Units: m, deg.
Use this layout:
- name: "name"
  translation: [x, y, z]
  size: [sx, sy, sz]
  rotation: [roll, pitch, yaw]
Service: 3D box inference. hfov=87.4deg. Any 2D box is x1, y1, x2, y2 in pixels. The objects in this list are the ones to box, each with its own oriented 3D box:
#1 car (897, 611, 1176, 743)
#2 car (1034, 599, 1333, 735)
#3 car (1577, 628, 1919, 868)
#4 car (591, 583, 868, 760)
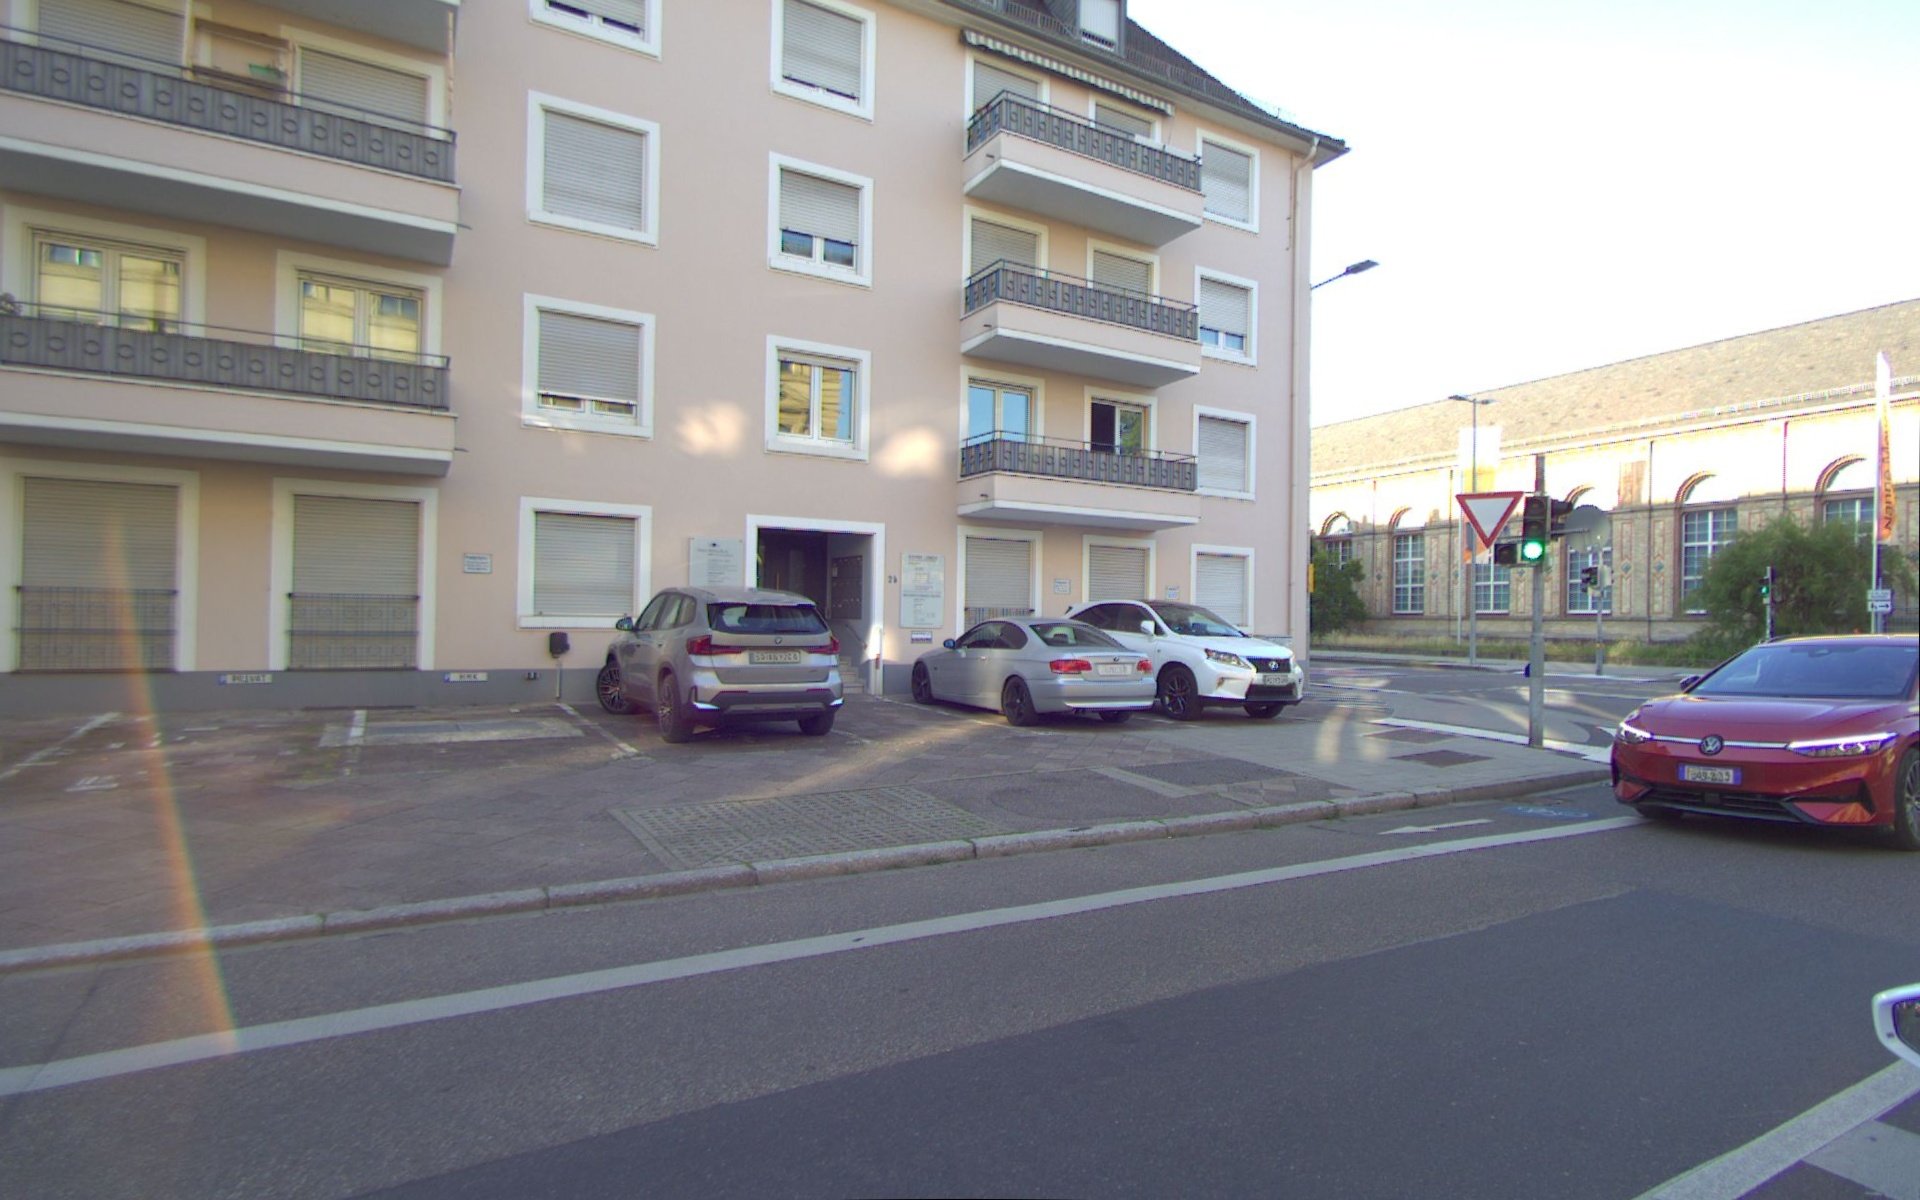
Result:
- name: "car"
  translation: [0.872, 0.934, 13.955]
  size: [1.716, 1.399, 4.244]
  rotation: [1, 1, -31]
- name: "car"
  translation: [3.183, 0.876, 15.269]
  size: [1.920, 1.663, 4.417]
  rotation: [1, 1, -31]
- name: "car"
  translation: [7.591, 1.028, 8.543]
  size: [4.786, 1.566, 1.824]
  rotation: [1, -2, -28]
- name: "car"
  translation: [-2.900, 0.659, 11.780]
  size: [1.894, 1.626, 4.395]
  rotation: [1, 1, -31]
